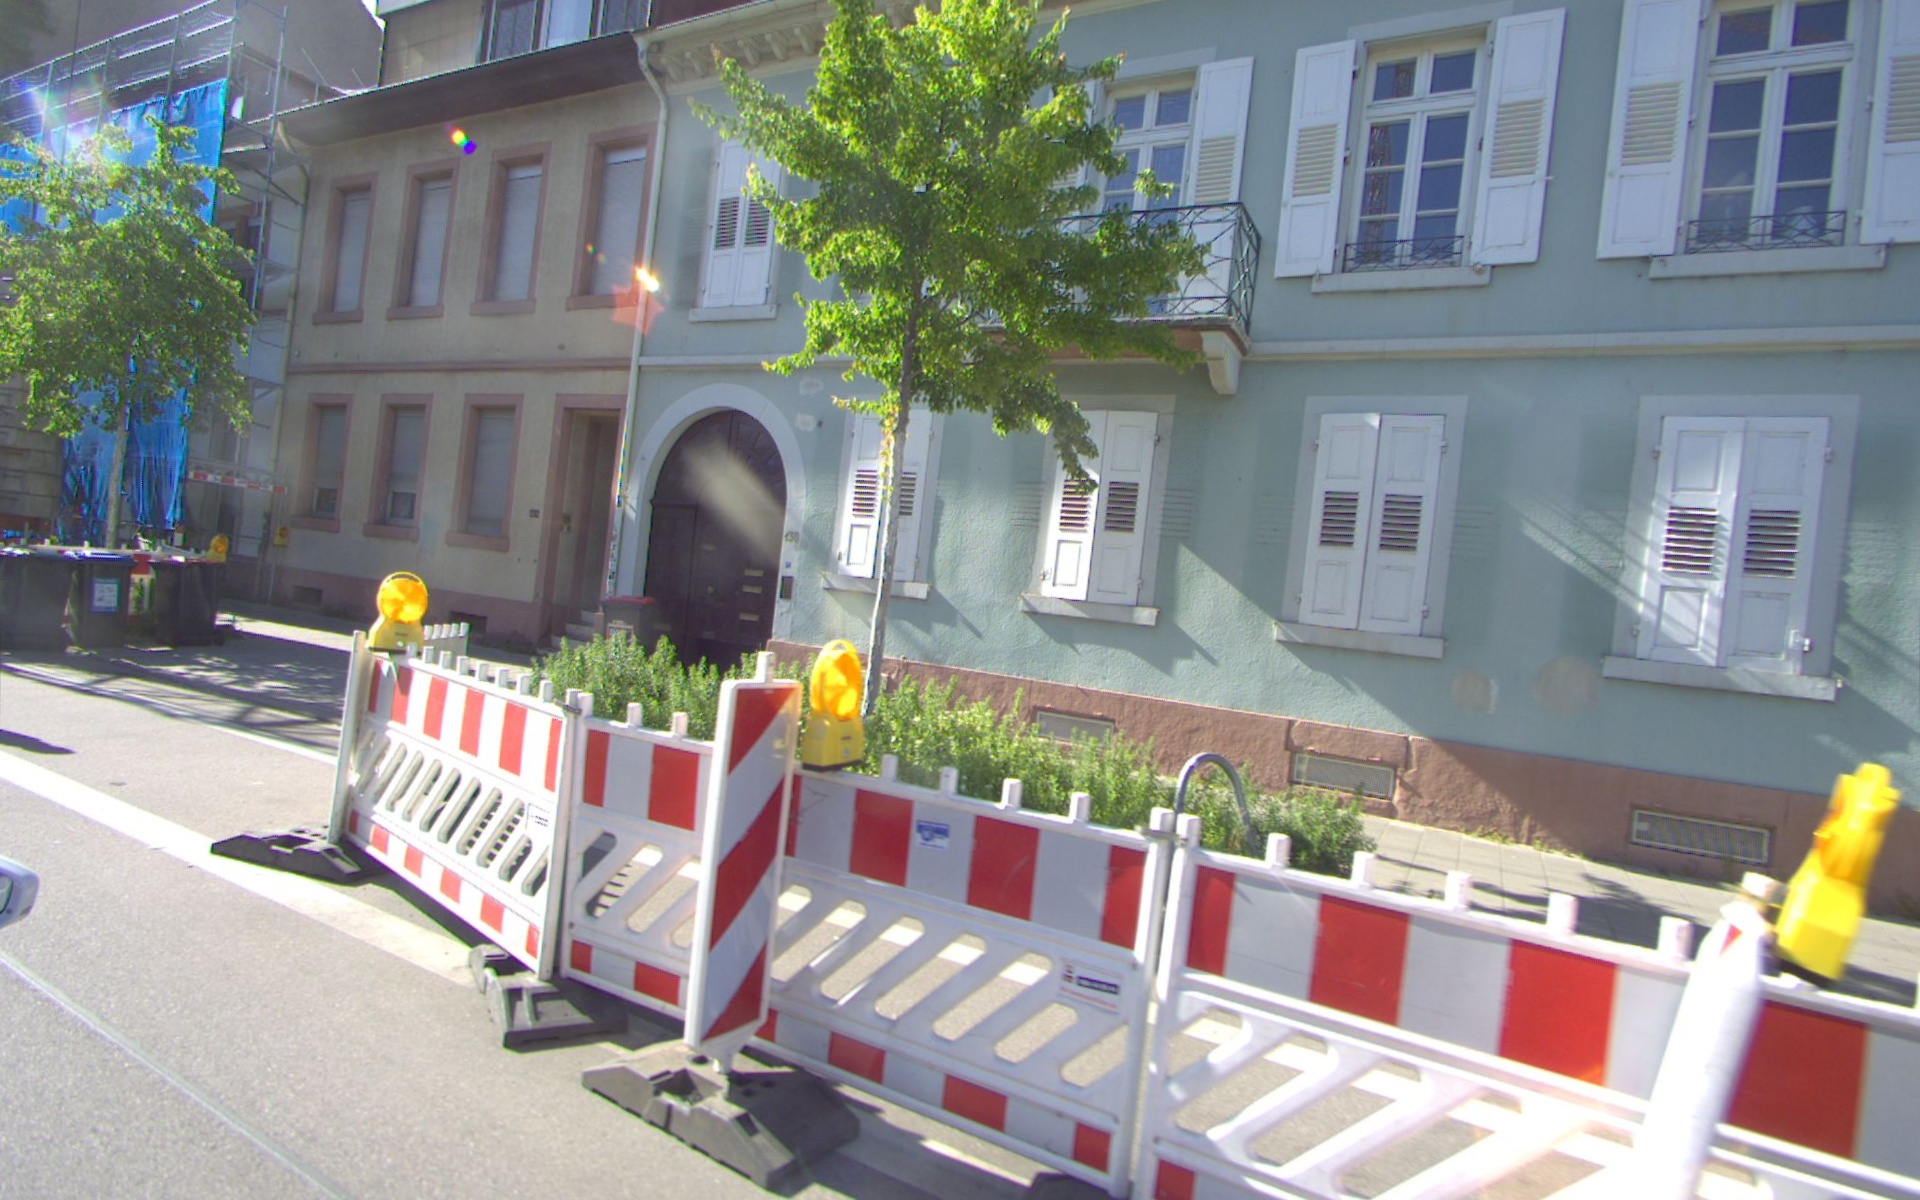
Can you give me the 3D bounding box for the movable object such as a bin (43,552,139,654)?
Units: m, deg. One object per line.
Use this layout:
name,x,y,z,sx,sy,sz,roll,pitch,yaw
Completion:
movable object such as a bin,-9.935,0.035,11.509,0.718,1.072,0.595,7,3,29

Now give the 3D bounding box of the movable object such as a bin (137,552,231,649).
movable object such as a bin,-9.436,-0.002,12.235,0.769,1.073,0.588,7,4,24

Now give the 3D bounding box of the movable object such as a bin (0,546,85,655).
movable object such as a bin,-10.054,0.004,10.875,0.718,1.070,0.589,7,-1,29
